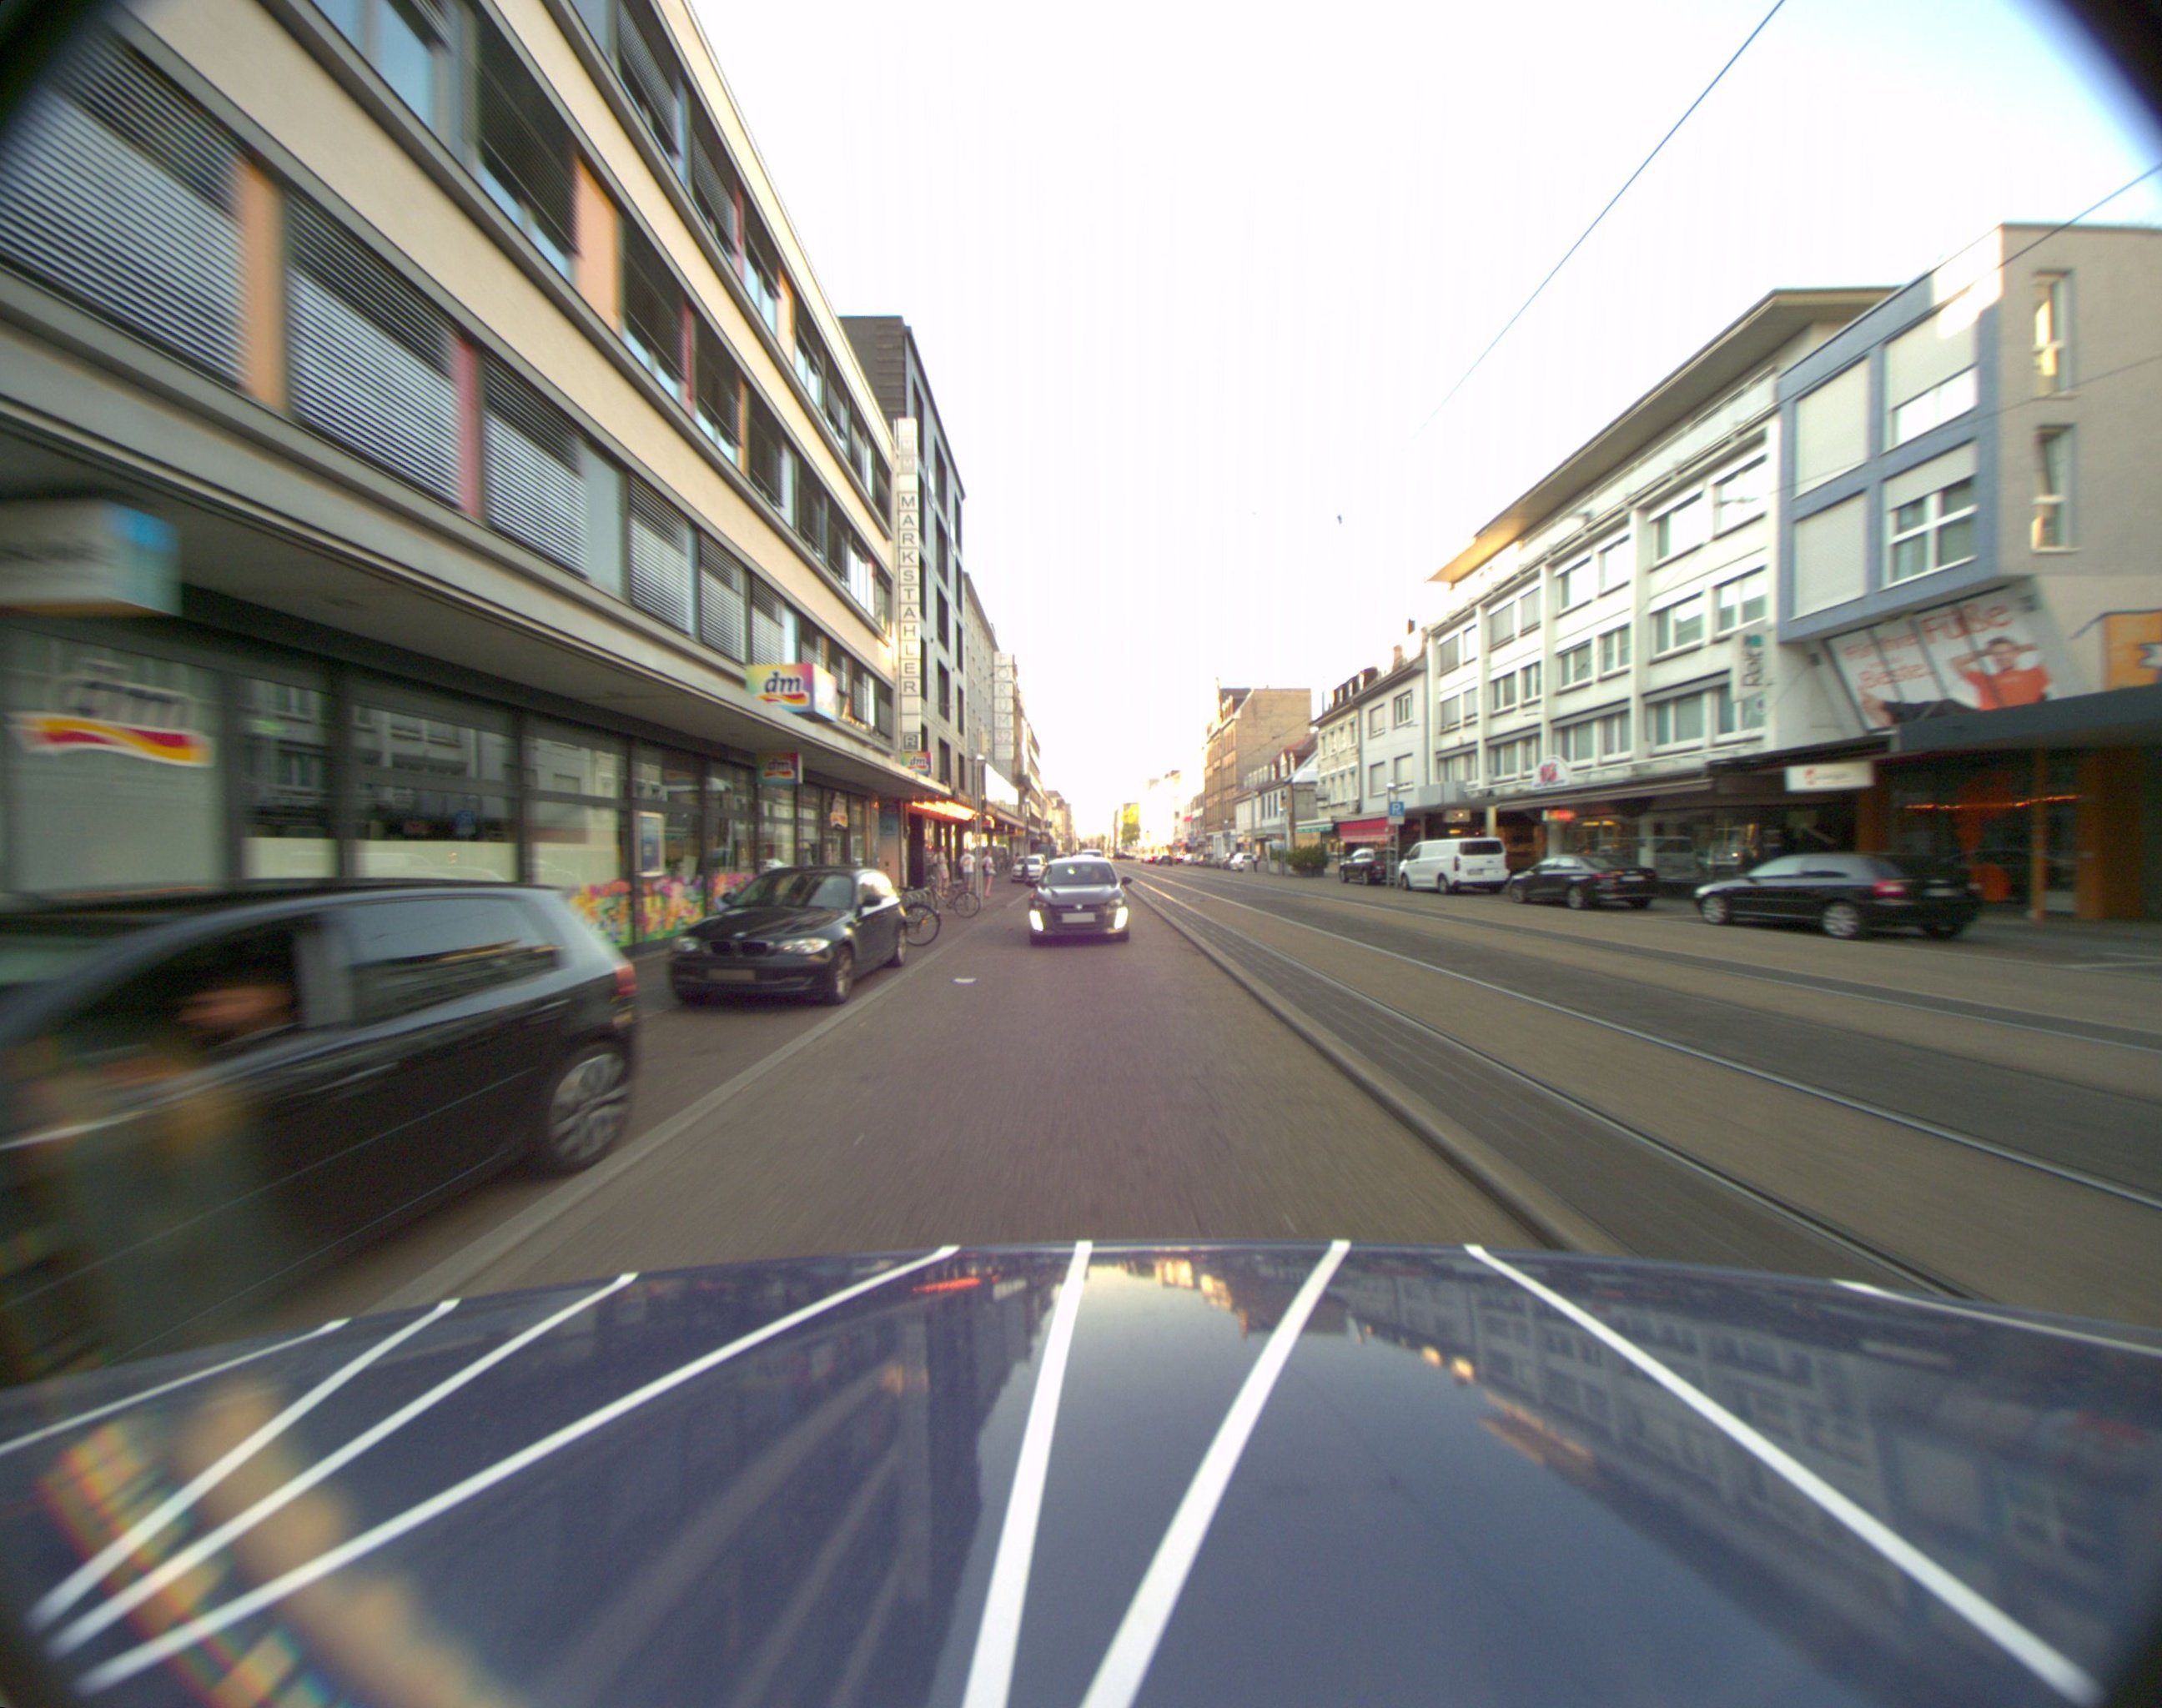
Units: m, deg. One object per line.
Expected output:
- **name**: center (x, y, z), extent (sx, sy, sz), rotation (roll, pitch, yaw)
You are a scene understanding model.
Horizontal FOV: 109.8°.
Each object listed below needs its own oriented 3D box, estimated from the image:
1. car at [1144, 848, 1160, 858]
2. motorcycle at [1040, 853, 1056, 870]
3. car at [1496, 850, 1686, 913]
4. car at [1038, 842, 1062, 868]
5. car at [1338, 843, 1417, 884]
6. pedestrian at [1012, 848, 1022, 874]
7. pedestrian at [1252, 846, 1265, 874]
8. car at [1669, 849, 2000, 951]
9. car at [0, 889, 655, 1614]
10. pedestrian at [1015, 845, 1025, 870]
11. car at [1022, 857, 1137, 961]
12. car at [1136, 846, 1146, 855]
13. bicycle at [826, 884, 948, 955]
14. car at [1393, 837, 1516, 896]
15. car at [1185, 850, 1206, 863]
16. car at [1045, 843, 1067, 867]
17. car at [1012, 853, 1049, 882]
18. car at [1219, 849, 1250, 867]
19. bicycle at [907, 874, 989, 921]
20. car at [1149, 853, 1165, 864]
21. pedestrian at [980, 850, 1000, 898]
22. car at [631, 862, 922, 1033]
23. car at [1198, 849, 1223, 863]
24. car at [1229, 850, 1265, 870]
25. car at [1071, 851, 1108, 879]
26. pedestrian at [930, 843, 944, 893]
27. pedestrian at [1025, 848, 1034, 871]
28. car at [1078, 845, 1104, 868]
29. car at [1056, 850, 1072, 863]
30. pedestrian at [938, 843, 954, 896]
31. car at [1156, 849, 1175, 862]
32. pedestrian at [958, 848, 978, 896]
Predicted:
- **car**: center (10.898, -0.143, 116.835), extent (1.998, 1.543, 4.000), rotation (-1, 0, 0)
- **motorcycle**: center (-2.709, 0.591, 61.827), extent (0.574, 1.369, 1.512), rotation (0, 1, 30)
- **car**: center (13.414, 0.643, 20.386), extent (1.998, 1.457, 4.557), rotation (-2, 0, 0)
- **car**: center (-2.835, 0.070, 70.130), extent (2.046, 2.371, 5.584), rotation (0, 0, -1)
- **car**: center (13.623, 0.416, 35.201), extent (1.863, 1.711, 4.527), rotation (-2, 0, 0)
- **pedestrian**: center (-4.344, 0.444, 51.409), extent (0.610, 1.743, 0.605), rotation (0, 1, 0)
- **pedestrian**: center (13.033, 0.439, 55.795), extent (0.823, 2.002, 0.713), rotation (0, 1, 16)
- **car**: center (13.262, 0.698, 13.862), extent (1.690, 1.503, 4.446), rotation (-2, 0, 2)
- **car**: center (-3.320, 0.975, 2.247), extent (1.724, 1.503, 4.167), rotation (1, 1, 1)
- **pedestrian**: center (-5.014, 0.281, 62.435), extent (0.711, 2.002, 0.824), rotation (0, 1, 0)
- **car**: center (-0.044, 0.850, 13.884), extent (1.732, 1.513, 4.333), rotation (-2, 0, -1)
- **car**: center (14.008, -0.755, 178.089), extent (1.998, 2.024, 4.000), rotation (0, 0, 0)
- **bicycle**: center (-3.274, 1.094, 12.950), extent (1.890, 1.131, 0.676), rotation (0, 1, -2)
- **car**: center (13.494, 0.397, 27.891), extent (1.960, 1.965, 5.162), rotation (0, 0, 0)
- **car**: center (14.233, 0.297, 94.978), extent (1.998, 1.543, 4.206), rotation (-1, 0, 0)
- **car**: center (-2.475, 0.085, 76.561), extent (1.999, 2.390, 5.563), rotation (0, 0, -1)
- **car**: center (-2.772, 0.711, 42.336), extent (1.682, 1.534, 3.886), rotation (1, 0, 1)
- **car**: center (13.646, 0.361, 67.836), extent (1.914, 1.535, 4.552), rotation (-1, 0, 0)
- **bicycle**: center (-3.256, 1.068, 18.690), extent (1.890, 1.071, 0.676), rotation (1, 1, -2)
- **car**: center (10.944, 0.648, 109.736), extent (1.998, 1.543, 4.000), rotation (-1, 0, 1)
- **pedestrian**: center (-3.314, 0.713, 27.738), extent (0.605, 1.717, 0.646), rotation (0, 1, 0)
- **car**: center (-3.285, 0.893, 9.195), extent (1.748, 1.503, 4.257), rotation (1, 1, 1)
- **car**: center (14.128, 0.202, 83.089), extent (1.998, 1.543, 4.000), rotation (-1, 0, 0)
- **car**: center (13.589, 0.428, 62.428), extent (1.998, 1.535, 4.878), rotation (-2, 0, 1)
- **car**: center (0.454, 0.599, 42.658), extent (1.998, 1.450, 3.999), rotation (-1, 1, 0)
- **pedestrian**: center (-5.520, 0.538, 29.143), extent (0.452, 1.888, 0.421), rotation (0, 1, 0)
- **pedestrian**: center (-3.927, 0.445, 58.225), extent (0.610, 1.743, 0.605), rotation (0, 1, 0)
- **car**: center (0.785, 0.187, 61.514), extent (1.999, 1.805, 3.999), rotation (-1, 1, -1)
- **car**: center (-2.221, 0.272, 99.543), extent (1.999, 1.627, 5.243), rotation (0, 0, -1)
- **pedestrian**: center (-4.879, 0.561, 27.463), extent (0.456, 1.888, 0.421), rotation (0, 1, 0)
- **car**: center (10.501, 0.187, 94.784), extent (1.998, 1.543, 4.000), rotation (0, 1, 0)
- **pedestrian**: center (-4.124, 0.646, 27.806), extent (0.610, 1.743, 0.605), rotation (0, 1, 0)
